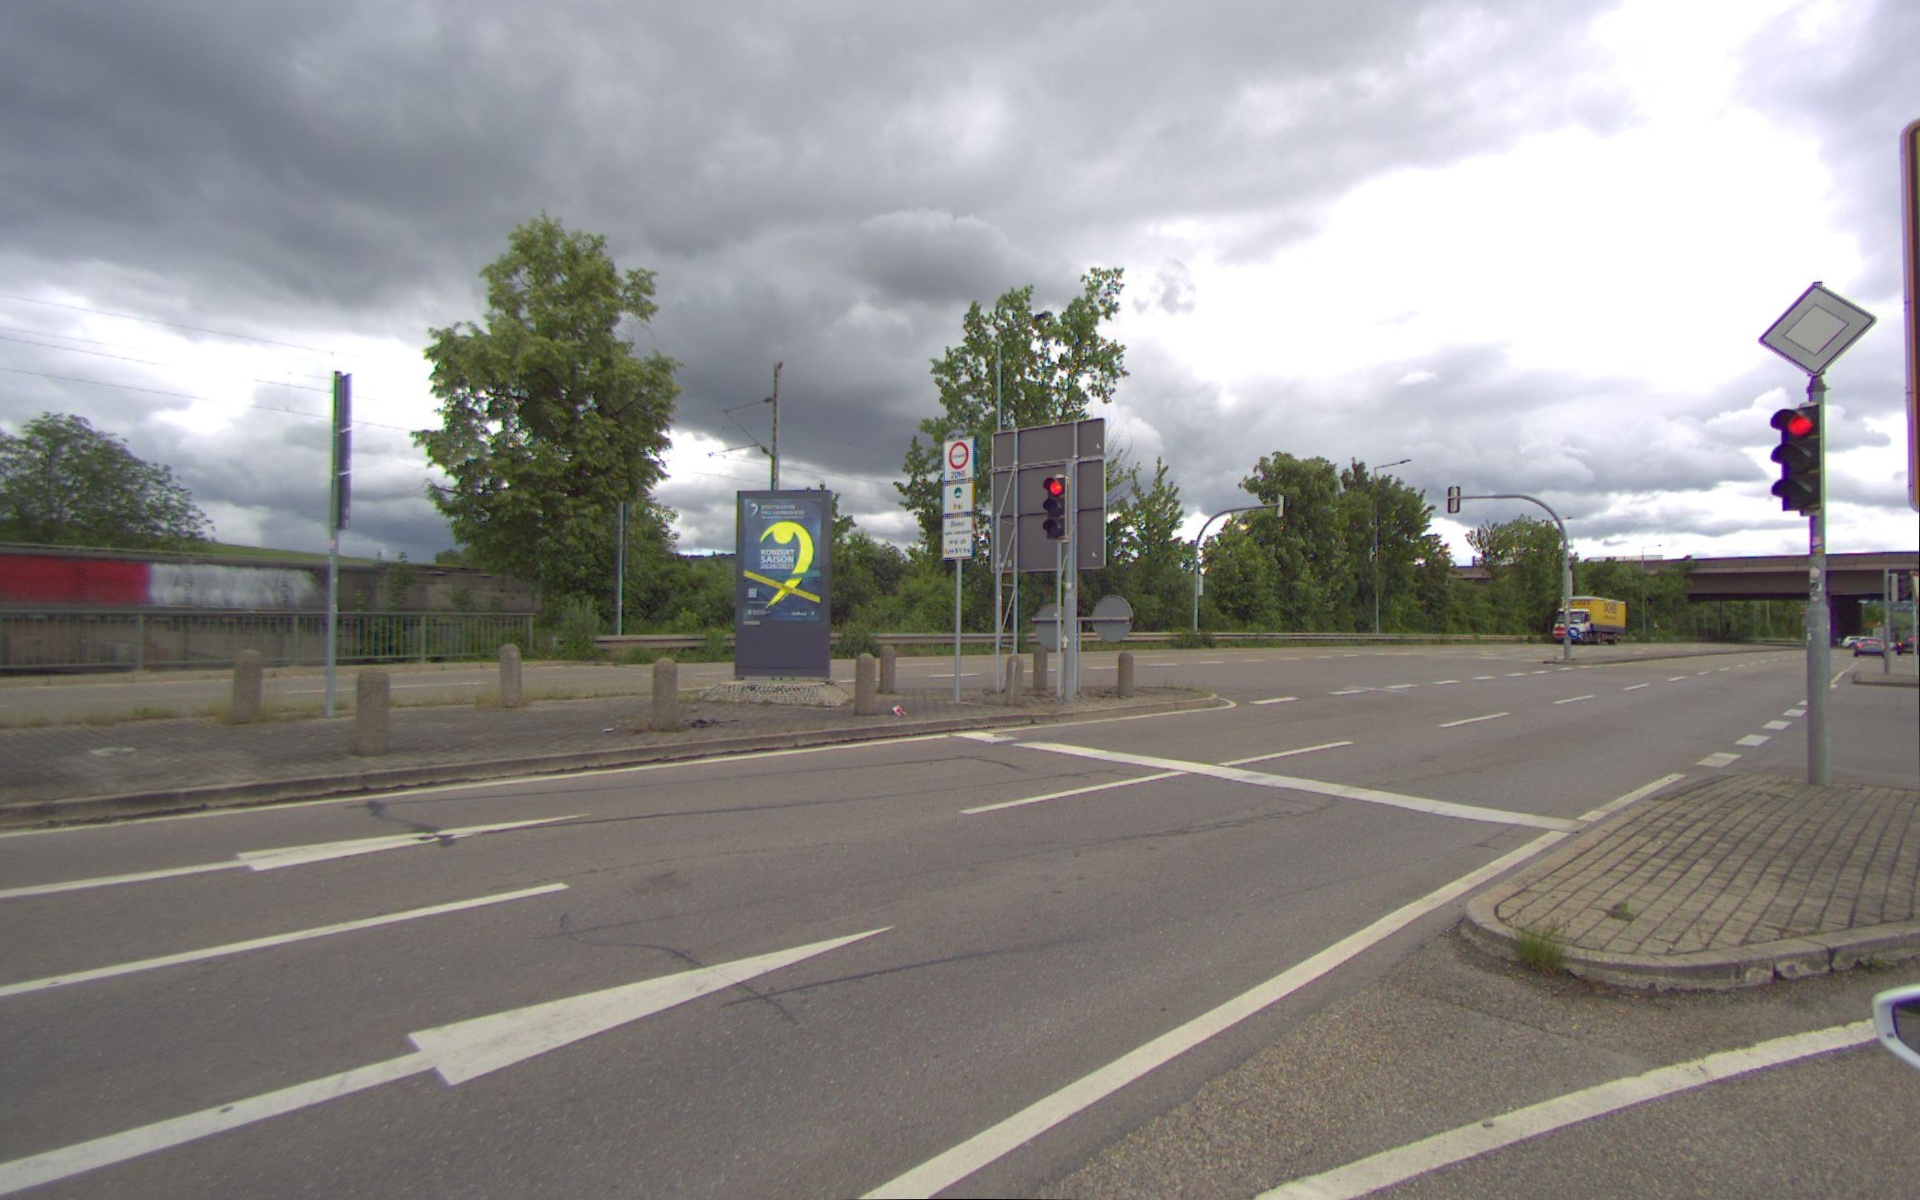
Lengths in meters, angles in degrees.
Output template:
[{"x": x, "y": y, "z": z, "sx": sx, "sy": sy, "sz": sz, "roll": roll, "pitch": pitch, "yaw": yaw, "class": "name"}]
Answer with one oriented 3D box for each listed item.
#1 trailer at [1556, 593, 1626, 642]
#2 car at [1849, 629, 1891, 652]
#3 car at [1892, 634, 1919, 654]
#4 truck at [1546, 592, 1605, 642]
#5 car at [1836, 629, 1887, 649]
[{"x": 58.175, "y": 1.591, "z": 92.468, "sx": 11.351, "sy": 4.139, "sz": 2.843, "roll": 1, "pitch": 1, "yaw": -45, "class": "trailer"}, {"x": 64.139, "y": 2.855, "z": 70.798, "sx": 4.085, "sy": 1.461, "sz": 1.973, "roll": 4, "pitch": -2, "yaw": -45, "class": "car"}, {"x": 79.497, "y": 3.688, "z": 84.116, "sx": 1.973, "sy": 1.483, "sz": 4.086, "roll": 1, "pitch": -2, "yaw": 44, "class": "car"}, {"x": 54.373, "y": 1.499, "z": 88.663, "sx": 6.444, "sy": 4.139, "sz": 2.843, "roll": 1, "pitch": 1, "yaw": -45, "class": "truck"}, {"x": 101.525, "y": 4.401, "z": 113.184, "sx": 1.982, "sy": 1.885, "sz": 3.955, "roll": 1, "pitch": 2, "yaw": -38, "class": "car"}]
